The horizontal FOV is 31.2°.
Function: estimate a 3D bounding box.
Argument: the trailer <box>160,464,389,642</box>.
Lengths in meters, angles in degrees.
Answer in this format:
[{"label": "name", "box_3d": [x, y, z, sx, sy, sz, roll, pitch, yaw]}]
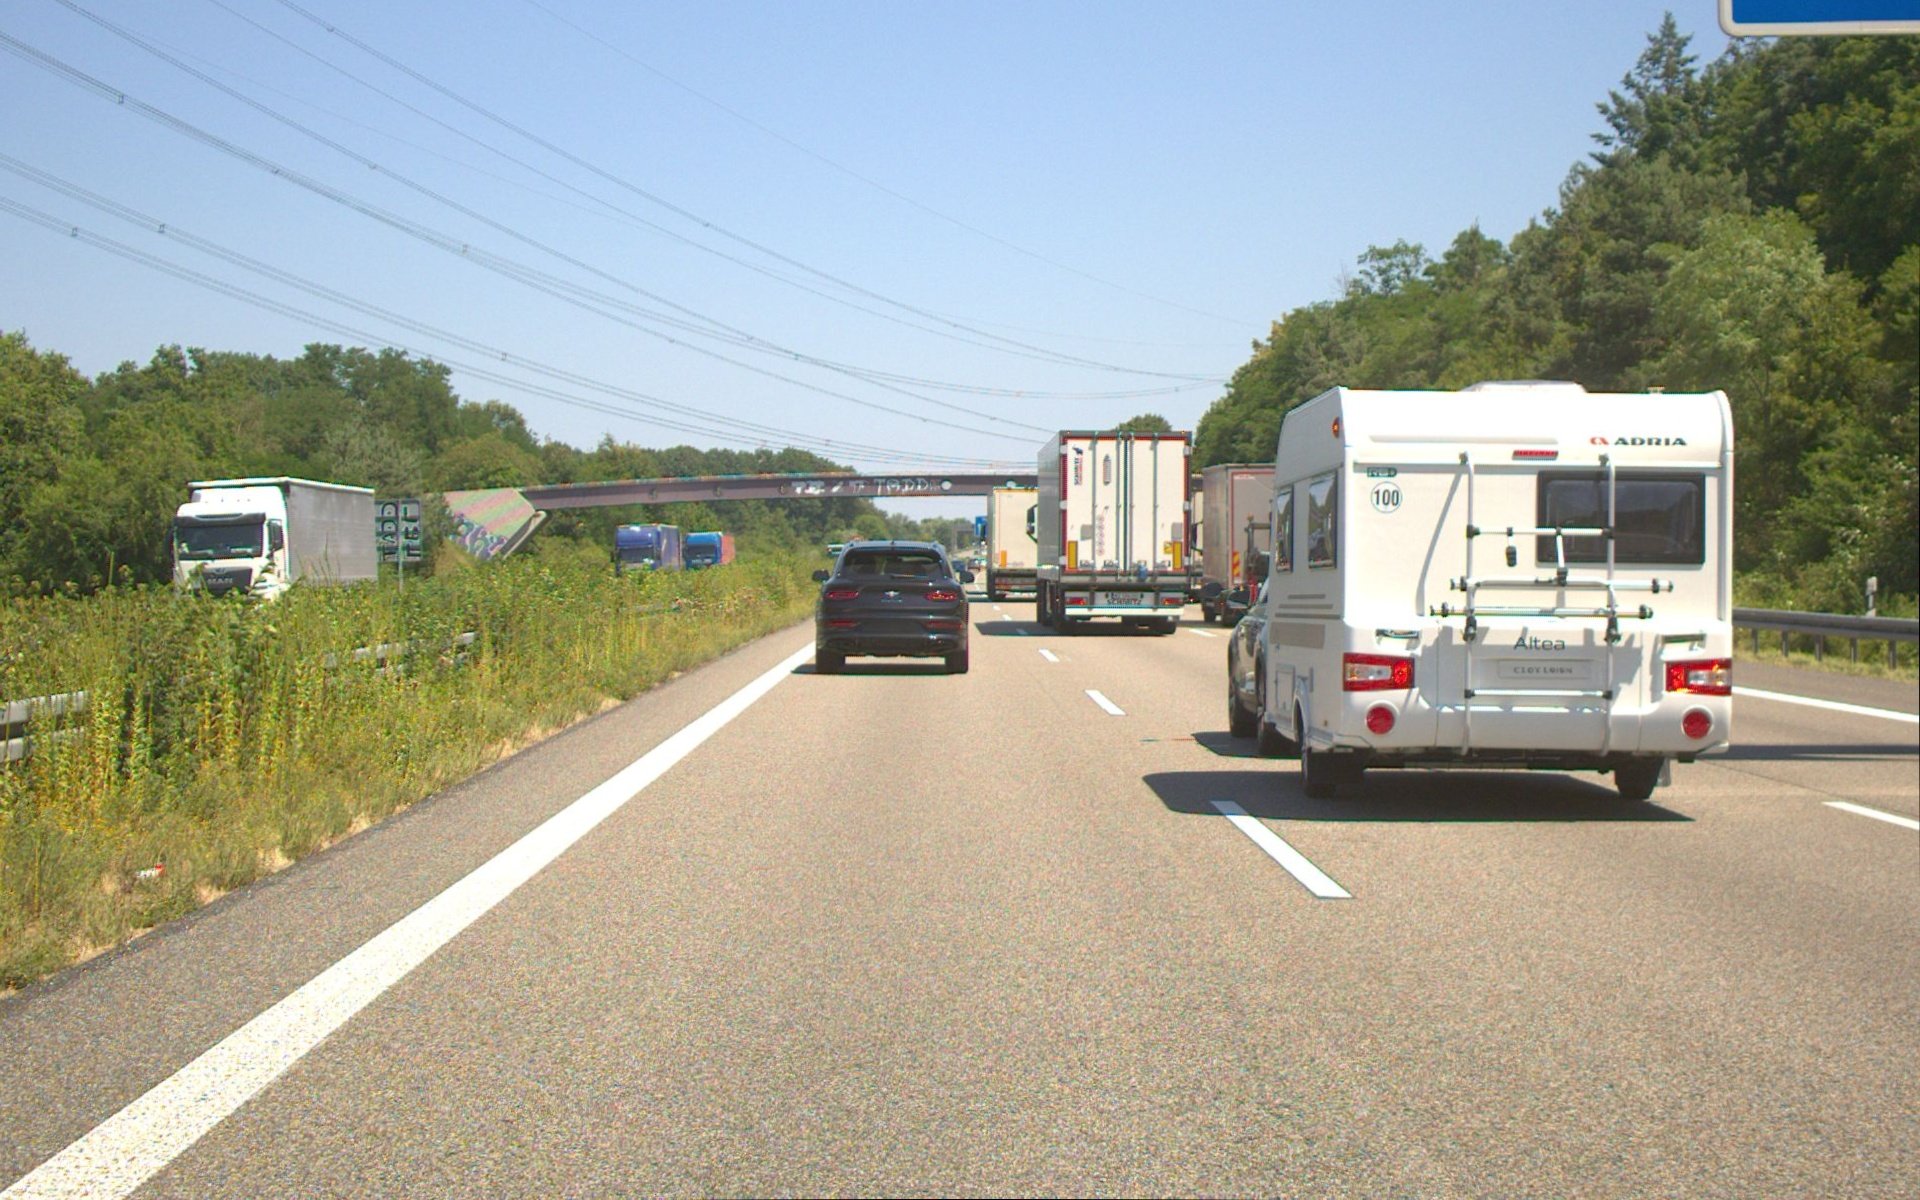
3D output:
[{"label": "trailer", "box_3d": [-18.734, -1.302, 95.106, 3.368, 4.393, 14.321, -3, 1, 0]}]

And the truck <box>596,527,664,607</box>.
[{"label": "truck", "box_3d": [-19.025, -1.904, 198.411, 3.087, 4.392, 6.801, -3, 1, 0]}]

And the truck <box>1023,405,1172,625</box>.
[{"label": "truck", "box_3d": [3.153, -1.942, 80.613, 3.087, 4.868, 6.598, 1, 0, 0]}]

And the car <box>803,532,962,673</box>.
[{"label": "car", "box_3d": [-1.030, -0.006, 45.546, 1.993, 1.766, 4.000, -1, 1, -1]}]

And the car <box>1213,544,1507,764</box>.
[{"label": "car", "box_3d": [3.149, 0.366, 27.940, 1.879, 1.607, 4.702, 1, 1, 1]}]

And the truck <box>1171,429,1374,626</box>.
[{"label": "truck", "box_3d": [7.198, -1.643, 81.084, 3.571, 4.230, 11.652, 1, 0, 0]}]

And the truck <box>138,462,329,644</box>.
[{"label": "truck", "box_3d": [-18.690, -1.209, 88.862, 3.368, 4.393, 6.556, -2, 1, 0]}]

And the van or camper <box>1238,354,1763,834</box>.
[{"label": "van or camper", "box_3d": [3.281, -0.088, 22.408, 2.439, 2.665, 6.350, 0, 1, 0]}]

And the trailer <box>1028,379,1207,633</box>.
[{"label": "trailer", "box_3d": [3.176, -1.877, 72.833, 3.087, 4.868, 12.258, 1, 0, 0]}]

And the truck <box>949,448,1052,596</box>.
[{"label": "truck", "box_3d": [1.396, -2.800, 125.397, 3.512, 5.149, 10.259, 1, 1, 0]}]
